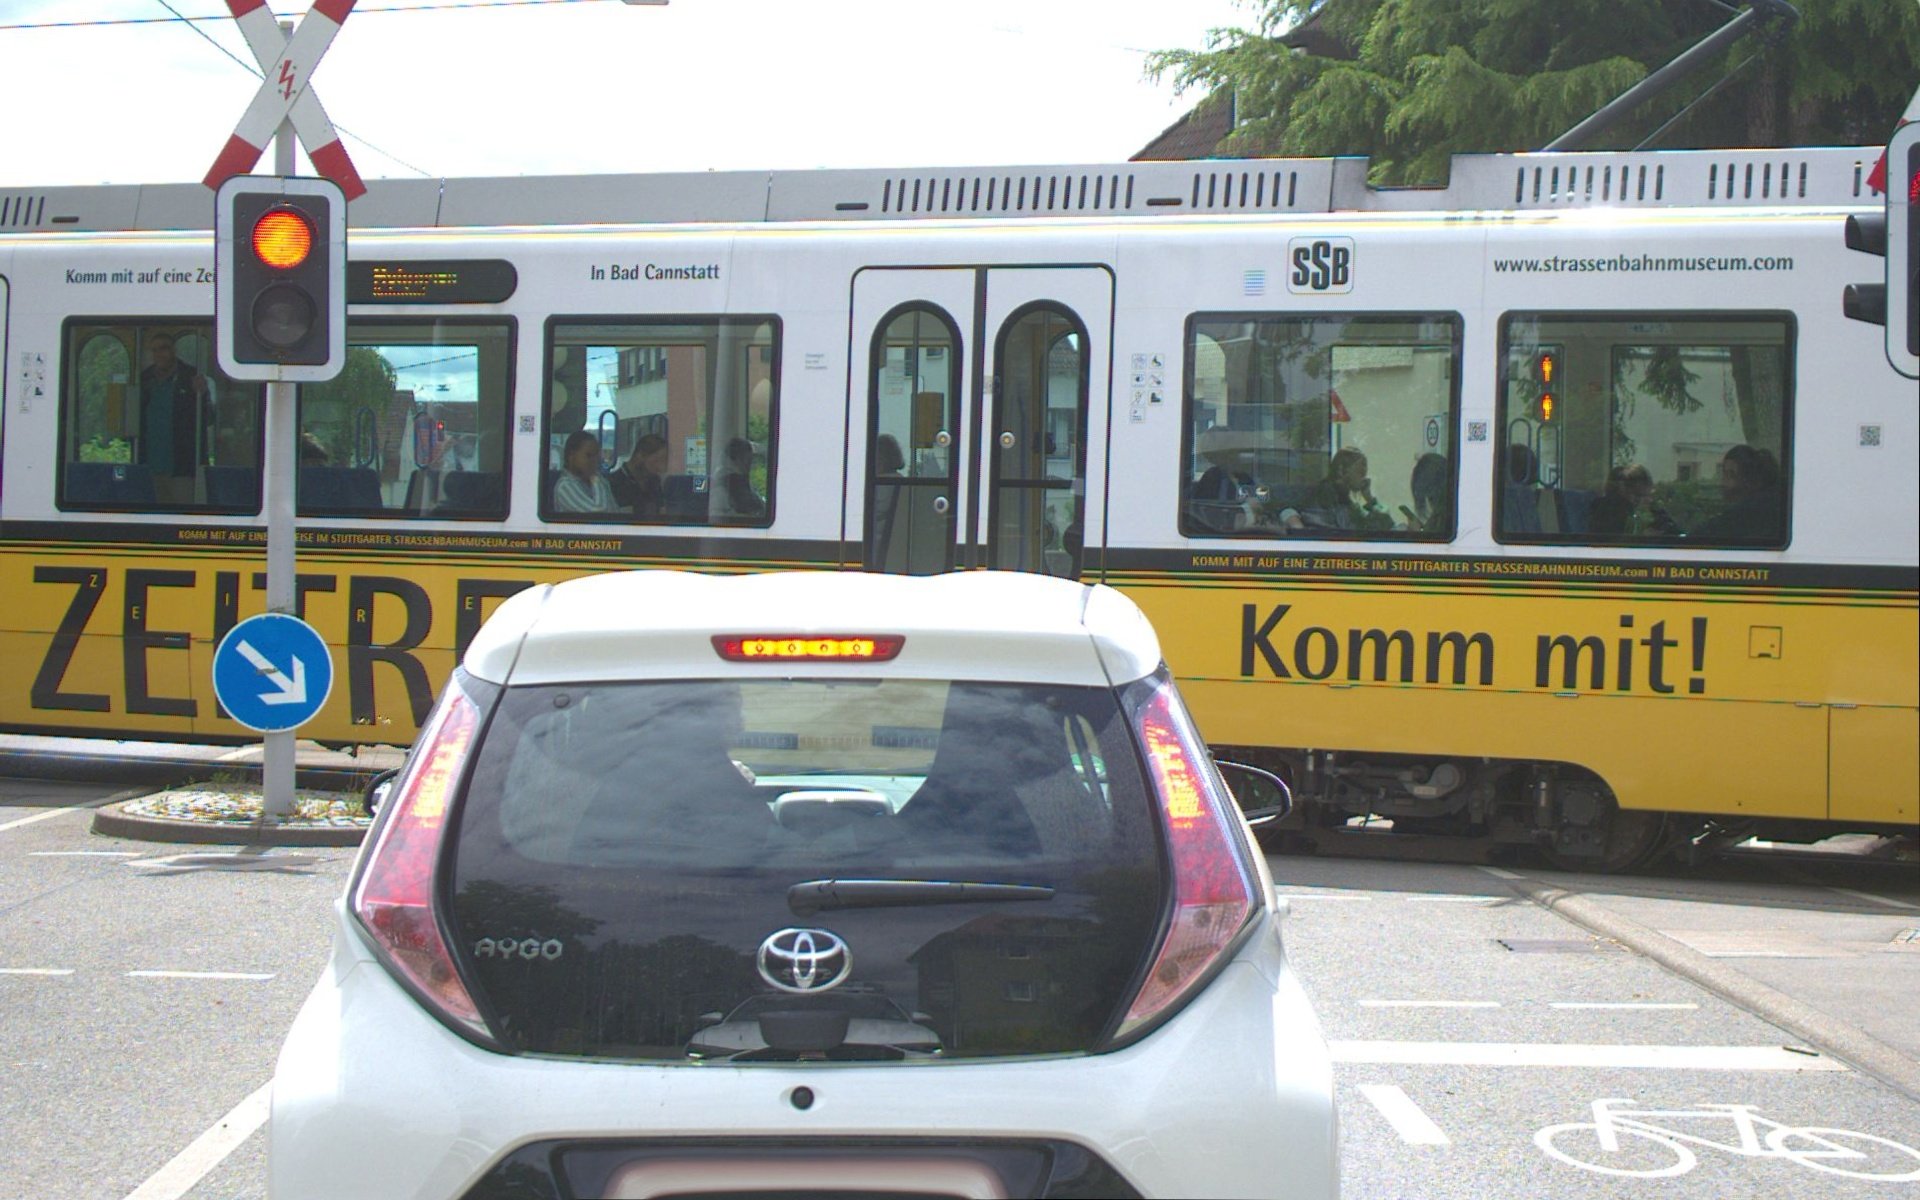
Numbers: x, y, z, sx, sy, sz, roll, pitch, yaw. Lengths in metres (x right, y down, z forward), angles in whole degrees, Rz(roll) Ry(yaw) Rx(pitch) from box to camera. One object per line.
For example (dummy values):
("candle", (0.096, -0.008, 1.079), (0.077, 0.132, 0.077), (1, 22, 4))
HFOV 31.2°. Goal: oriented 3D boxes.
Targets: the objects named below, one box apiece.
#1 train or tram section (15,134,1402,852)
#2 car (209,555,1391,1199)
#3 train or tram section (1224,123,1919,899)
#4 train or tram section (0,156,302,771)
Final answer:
("train or tram section", (-1.540, -0.699, 20.558), (7.700, 3.709, 2.866), (2, 1, 23))
("car", (-0.245, 0.665, 6.734), (1.621, 1.481, 4.000), (0, 1, -1))
("train or tram section", (5.521, -0.416, 17.593), (7.700, 3.709, 2.866), (2, 1, 23))
("train or tram section", (-8.628, -0.974, 23.544), (7.700, 3.709, 2.866), (2, 1, 23))
